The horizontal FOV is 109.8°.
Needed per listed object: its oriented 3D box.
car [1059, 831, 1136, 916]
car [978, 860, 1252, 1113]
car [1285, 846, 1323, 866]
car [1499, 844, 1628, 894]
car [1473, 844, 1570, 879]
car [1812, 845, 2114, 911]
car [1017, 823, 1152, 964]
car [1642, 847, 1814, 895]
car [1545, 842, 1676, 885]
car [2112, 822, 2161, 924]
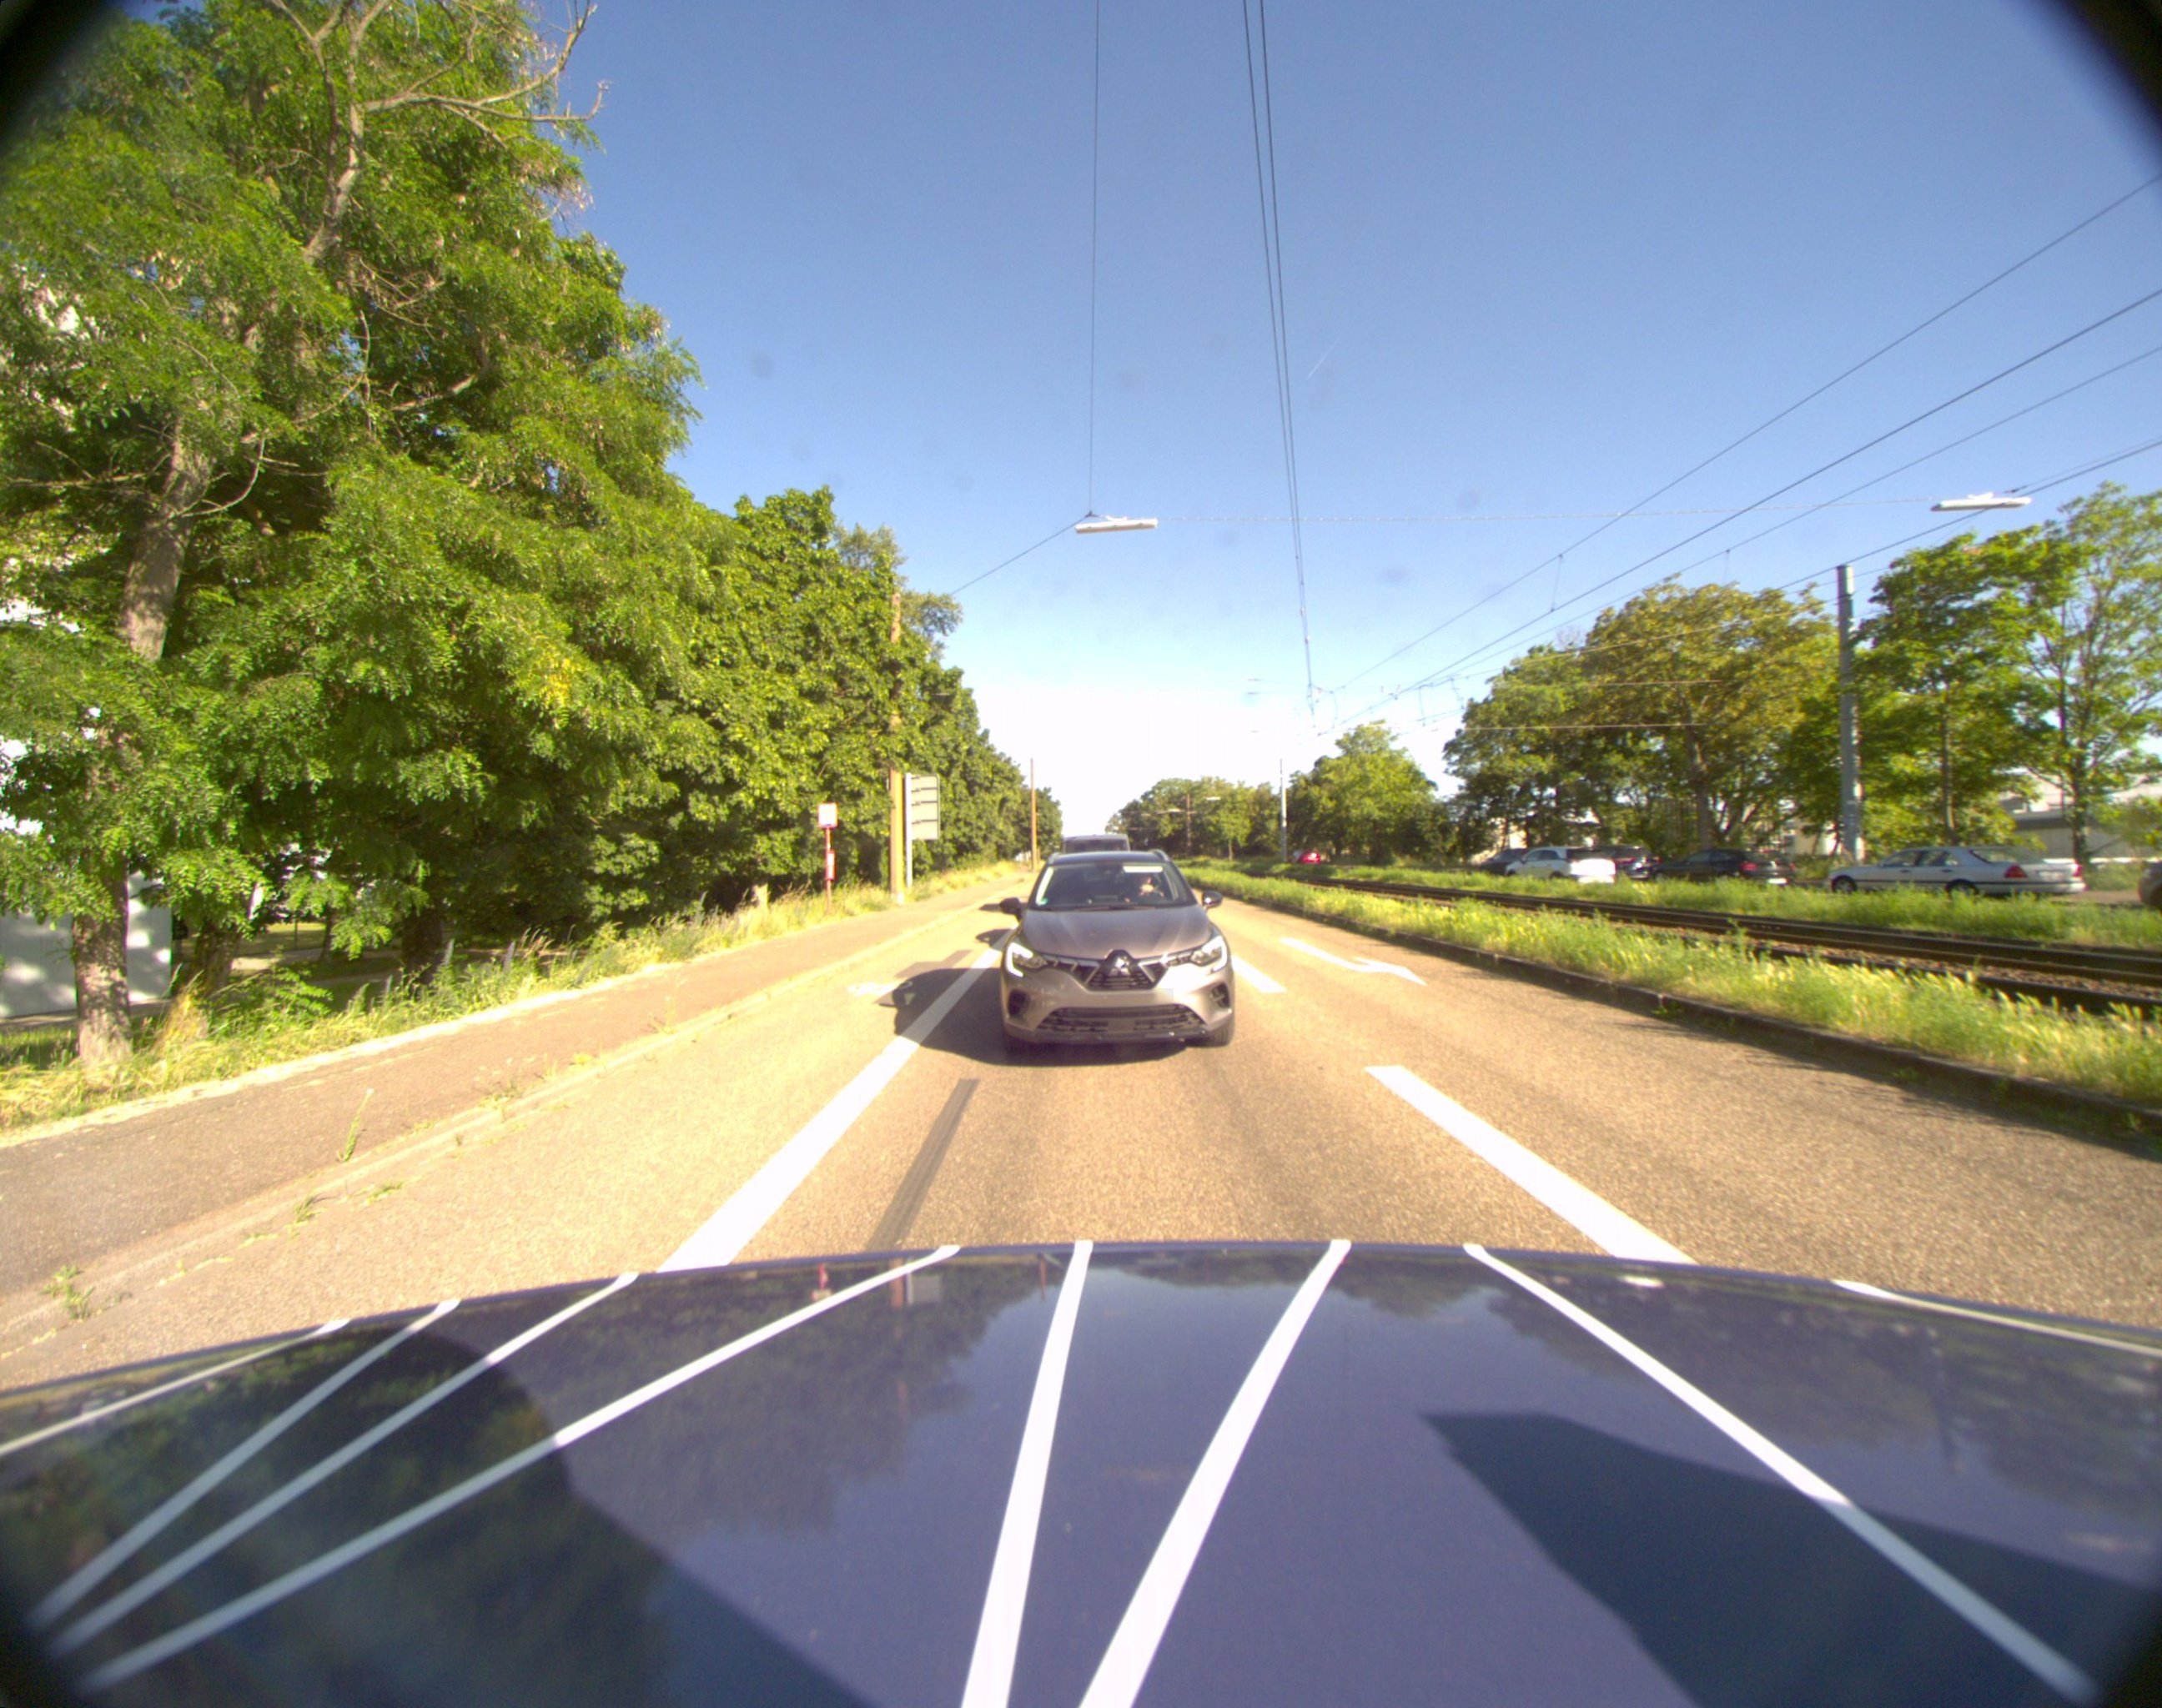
[{"bbox_3d":[0.378,0.543,22.240,1.999,2.198,4.786,-1,-1,-1],"label":"car"},{"bbox_3d":[0.184,0.898,7.321,1.796,1.583,4.529,-1,0,-1],"label":"car"},{"bbox_3d":[20.960,0.212,71.485,2.321,1.723,4.798,-2,0,3],"label":"car"},{"bbox_3d":[16.566,0.485,26.352,1.859,1.548,4.157,-2,0,1],"label":"car"},{"bbox_3d":[21.548,0.357,37.426,2.130,1.554,4.560,-2,0,0],"label":"car"},{"bbox_3d":[21.541,0.538,18.953,2.130,1.372,4.616,-2,0,-1],"label":"car"},{"bbox_3d":[0.080,0.613,13.631,1.998,2.113,4.000,-2,0,1],"label":"car"},{"bbox_3d":[21.336,0.521,25.347,1.960,1.417,4.488,-2,0,1],"label":"car"},{"bbox_3d":[21.294,0.373,30.844,2.130,1.578,4.616,-2,0,1],"label":"car"},{"bbox_3d":[21.241,0.319,12.511,2.207,1.923,4.685,-2,0,2],"label":"car"}]
